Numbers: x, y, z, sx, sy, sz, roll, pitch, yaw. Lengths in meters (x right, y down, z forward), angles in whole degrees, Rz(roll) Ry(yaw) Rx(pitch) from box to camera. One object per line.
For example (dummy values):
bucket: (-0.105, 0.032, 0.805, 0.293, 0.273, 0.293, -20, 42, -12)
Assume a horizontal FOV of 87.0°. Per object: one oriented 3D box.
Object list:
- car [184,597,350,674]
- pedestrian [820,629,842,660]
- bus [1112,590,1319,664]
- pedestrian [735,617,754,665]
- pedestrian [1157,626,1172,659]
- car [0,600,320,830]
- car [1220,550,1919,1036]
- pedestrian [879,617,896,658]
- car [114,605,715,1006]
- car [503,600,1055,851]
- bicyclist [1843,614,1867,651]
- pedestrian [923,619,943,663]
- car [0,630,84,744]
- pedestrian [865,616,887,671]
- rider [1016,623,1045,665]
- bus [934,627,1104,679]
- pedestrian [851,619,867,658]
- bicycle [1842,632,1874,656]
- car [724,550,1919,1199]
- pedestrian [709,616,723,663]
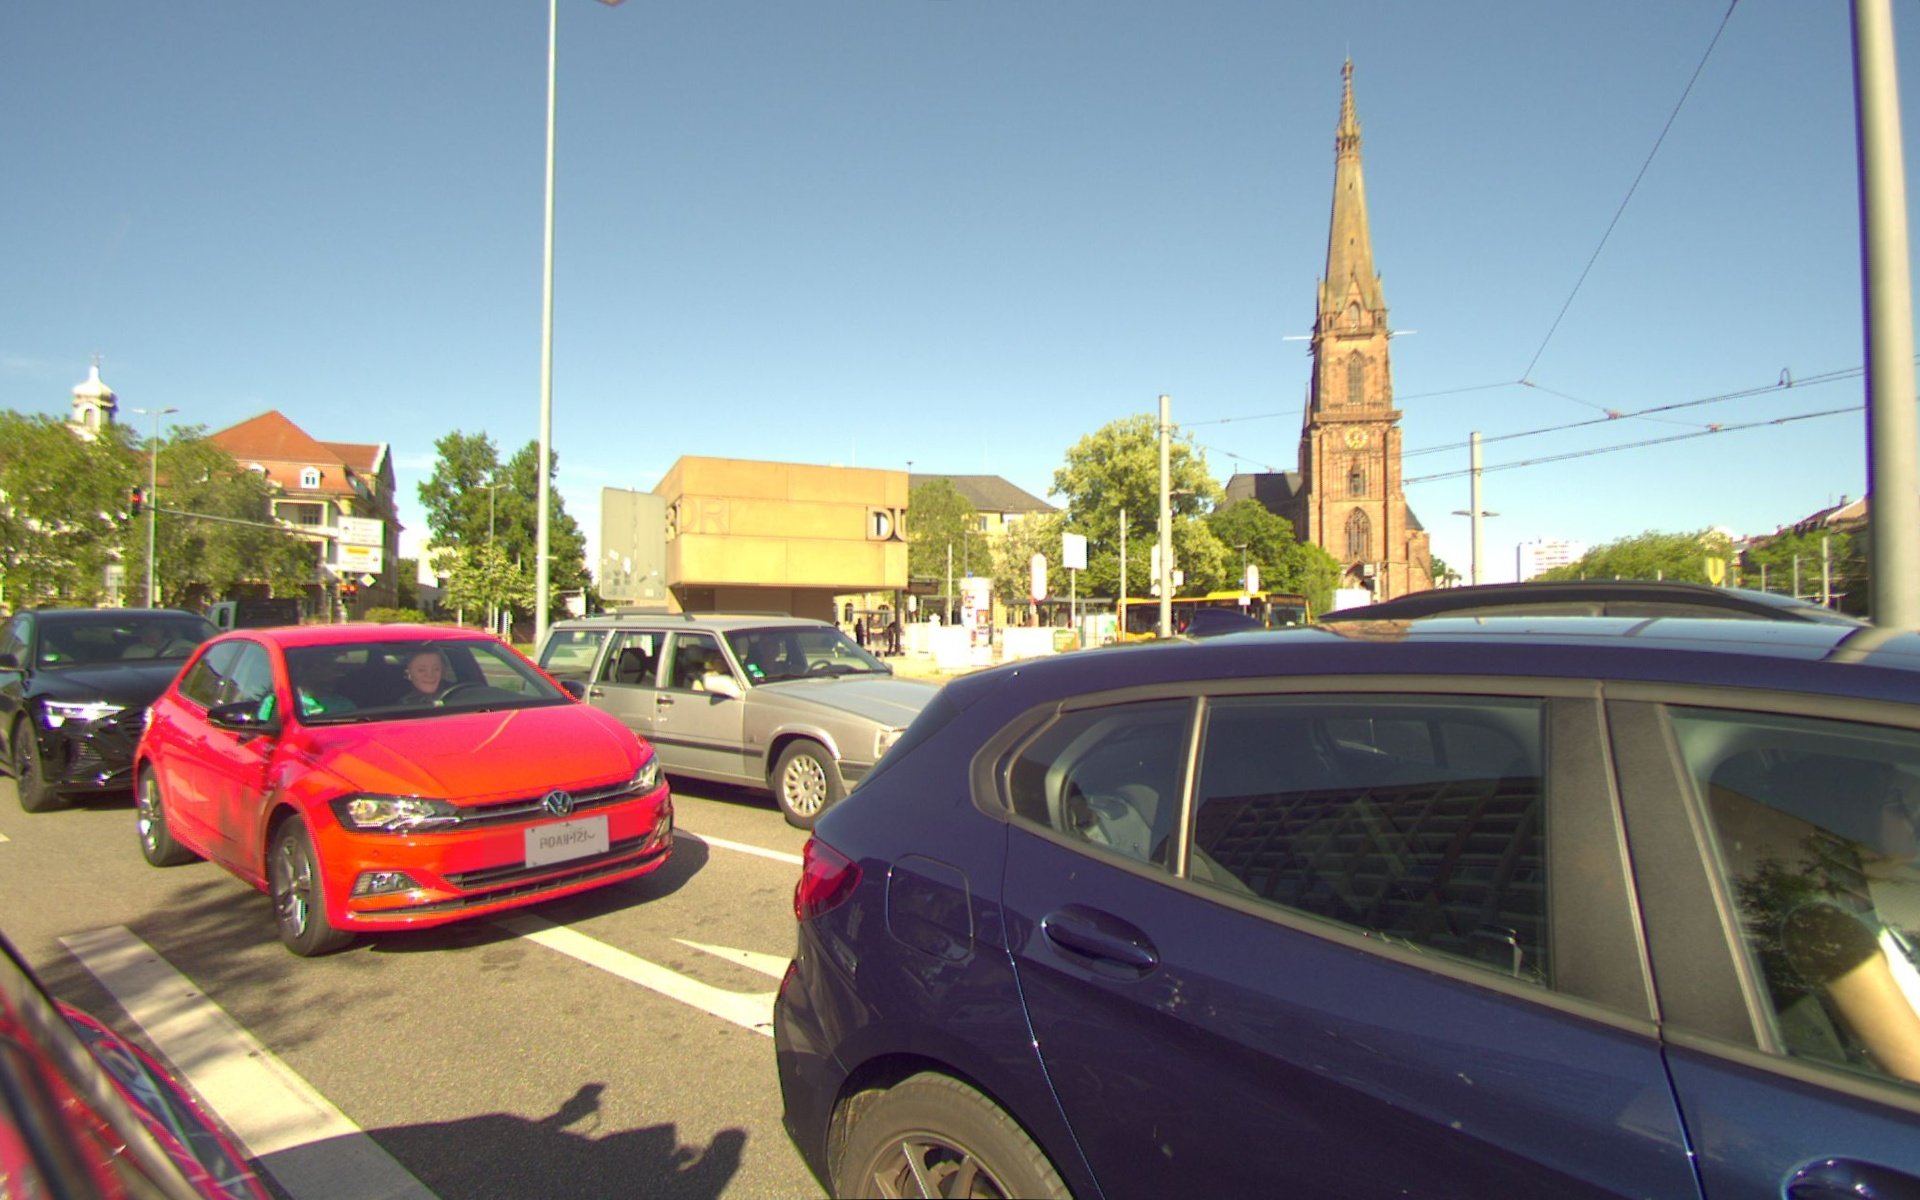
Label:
car: (-22.699, 1.157, 33.080, 6.191, 2.331, 2.095, -1, -2, 31)
pedestrian: (-5.509, 1.893, 43.184, 0.635, 1.320, 0.764, 1, -2, -40)
bus: (11.625, 1.324, 48.111, 2.715, 3.088, 12.201, 1, -2, -23)
pedestrian: (-8.162, 1.537, 38.310, 0.635, 1.789, 0.618, 0, -2, -8)
pedestrian: (9.686, 2.014, 47.930, 0.569, 1.525, 0.522, -1, -1, 32)
car: (-7.805, 0.881, 9.300, 4.446, 1.628, 1.836, -1, -2, 38)
car: (3.306, 0.623, 4.118, 4.010, 1.529, 1.738, -2, -2, 44)
pedestrian: (-3.221, 1.655, 45.026, 0.468, 1.789, 0.638, -2, -2, 36)
car: (-3.227, 0.808, 5.655, 3.850, 1.484, 1.653, -2, -1, 40)
car: (-1.694, 0.819, 8.222, 4.746, 1.484, 1.692, -2, -1, 38)
bicyclist: (41.889, 1.519, 47.350, 0.675, 1.725, 0.612, -1, -2, 29)
pedestrian: (-1.102, 1.659, 41.039, 0.634, 1.789, 0.470, 1, -2, -29)
car: (-13.666, 1.138, 13.929, 3.704, 1.429, 1.557, -1, -2, 35)
pedestrian: (-2.781, 1.441, 33.590, 0.658, 1.802, 0.646, -1, -1, -2)
rider: (2.501, 1.566, 36.053, 0.658, 1.475, 0.864, 1, -2, -30)
bus: (1.482, 1.333, 26.200, 4.174, 1.251, 1.627, -1, -2, 35)
pedestrian: (-4.648, 1.771, 46.558, 0.468, 1.789, 0.638, -2, -2, 36)
bicycle: (41.964, 2.041, 47.330, 0.675, 1.114, 1.880, -1, -2, 28)
car: (1.580, 0.678, 1.372, 4.030, 1.456, 1.692, -1, -1, 42)
pedestrian: (-9.296, 1.501, 38.536, 0.460, 1.789, 0.648, 0, -2, -21)
